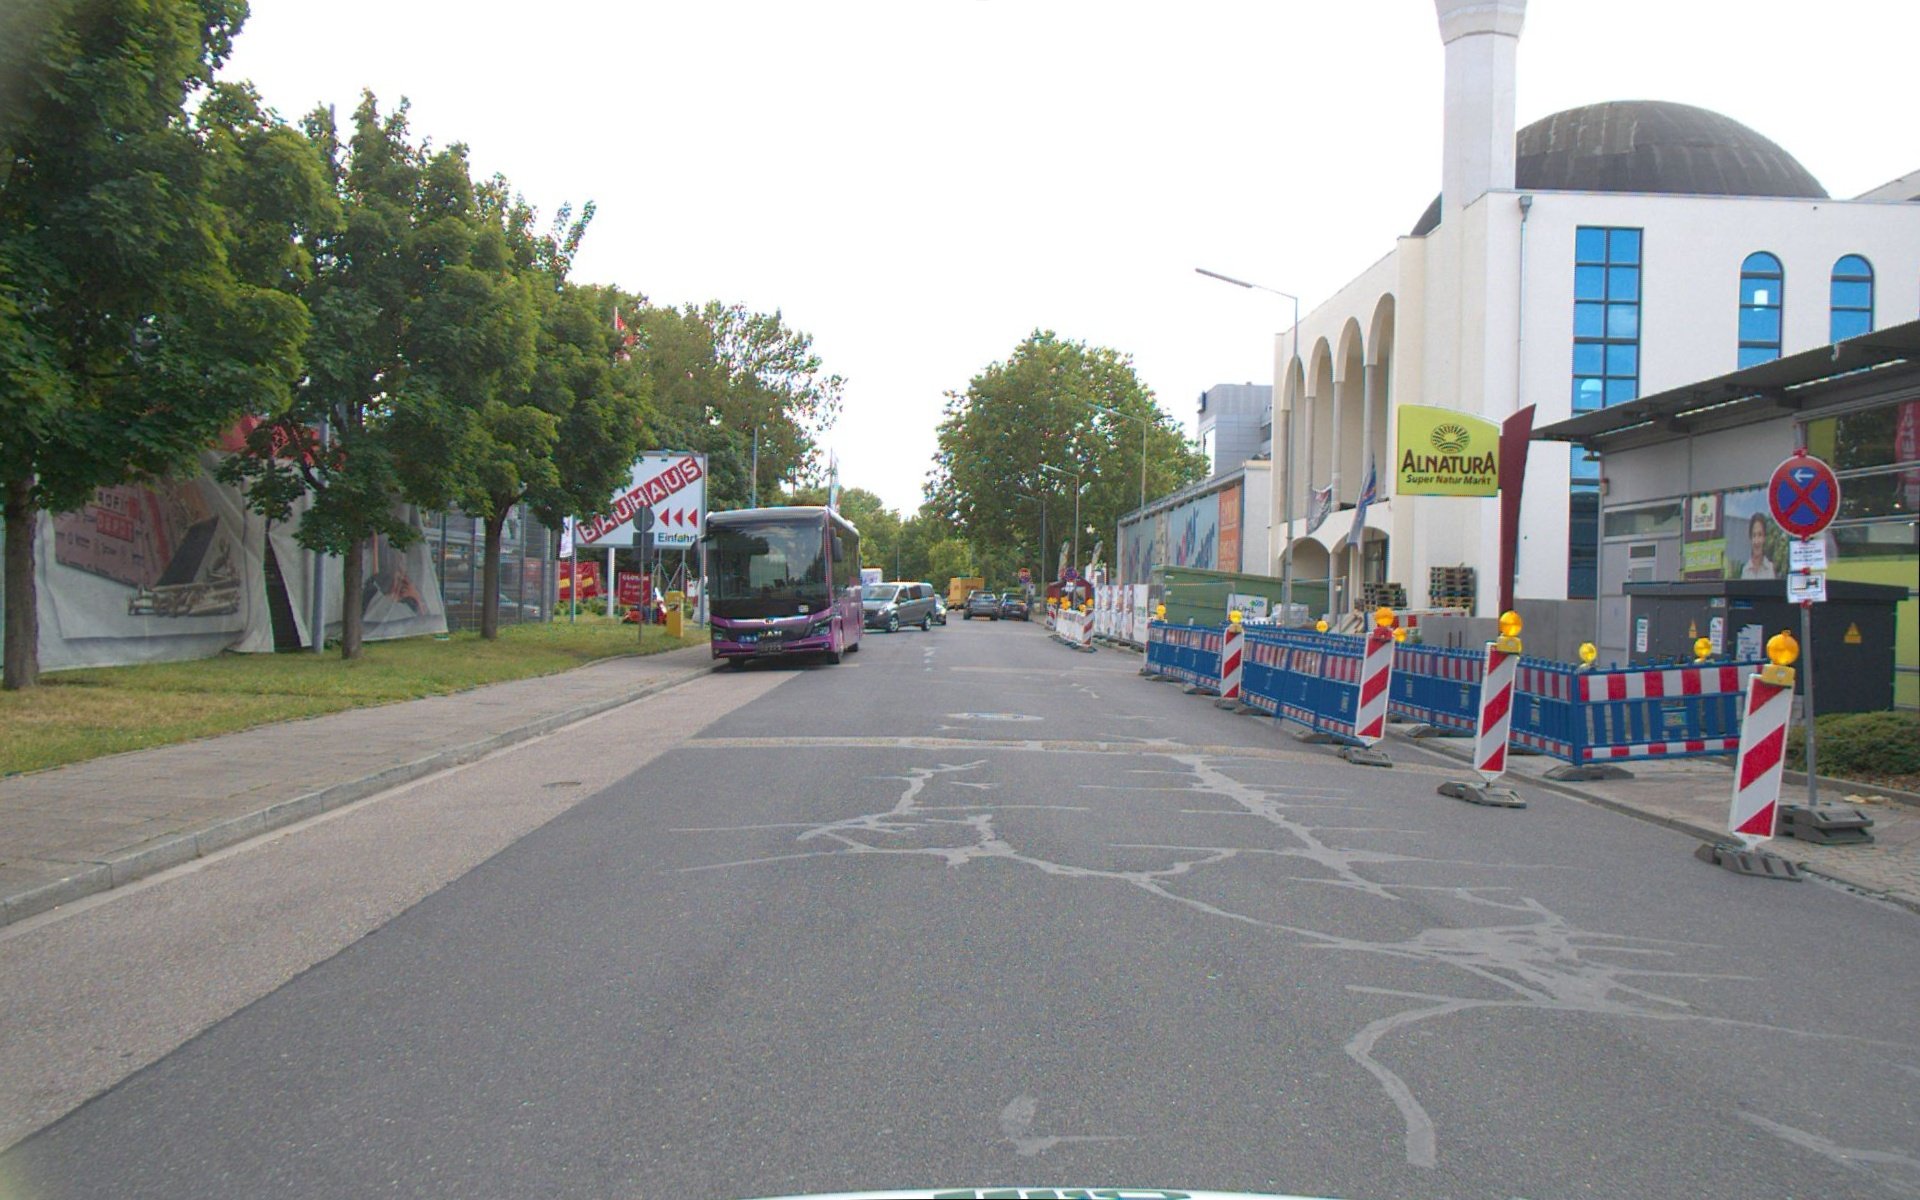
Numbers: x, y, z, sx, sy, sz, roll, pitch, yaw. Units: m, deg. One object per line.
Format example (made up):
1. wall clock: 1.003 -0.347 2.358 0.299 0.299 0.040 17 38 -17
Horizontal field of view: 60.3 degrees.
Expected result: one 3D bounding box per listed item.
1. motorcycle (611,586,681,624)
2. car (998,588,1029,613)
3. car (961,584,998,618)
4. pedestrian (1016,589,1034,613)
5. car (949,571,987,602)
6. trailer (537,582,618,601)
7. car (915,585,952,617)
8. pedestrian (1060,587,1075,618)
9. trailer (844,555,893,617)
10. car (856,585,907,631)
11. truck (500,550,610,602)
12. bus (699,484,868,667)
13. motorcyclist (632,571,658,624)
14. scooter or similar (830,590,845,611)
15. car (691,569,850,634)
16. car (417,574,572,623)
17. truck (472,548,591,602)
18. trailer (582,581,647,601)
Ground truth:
1. motorcycle: -10.557 0.162 55.656 2.175 1.235 0.994 1 0 0
2. car: 3.344 0.033 104.720 1.771 1.415 4.588 4 0 1
3. car: 1.106 0.041 96.777 1.922 1.847 4.273 1 0 -2
4. pedestrian: 5.257 0.080 133.830 0.985 1.881 1.223 2 0 -18
5. car: 0.683 -1.159 145.438 2.159 2.623 6.389 1 0 -10
6. trailer: -21.869 -0.481 94.646 4.149 0.929 2.158 2 -1 -3
7. car: -1.272 0.039 79.929 1.759 1.484 4.384 0 1 -1
8. pedestrian: 5.565 0.114 85.587 0.667 1.560 1.130 2 0 -1
9. trailer: -4.343 -0.666 78.943 2.096 2.832 4.702 -1 0 -1
10. car: -2.998 0.294 63.928 1.830 1.658 4.126 1 1 -2
11. truck: -21.959 -1.291 89.848 5.434 2.639 1.779 2 -2 0
12. bus: -3.824 -0.530 39.030 2.609 3.482 13.217 -2 0 -1
13. motorcyclist: -10.607 -0.101 55.649 0.660 1.753 0.994 1 0 0
14. scooter or similar: -7.040 0.037 94.780 0.506 1.214 1.281 2 0 10
15. car: -6.283 0.036 55.176 4.895 1.983 1.993 2 0 5
16. car: -15.587 -0.063 55.567 4.587 1.479 1.955 2 0 0
17. truck: -22.420 -1.302 86.651 5.636 2.639 1.815 2 -2 1
18. trailer: -22.233 -0.598 106.543 3.736 1.211 1.716 2 1 5
